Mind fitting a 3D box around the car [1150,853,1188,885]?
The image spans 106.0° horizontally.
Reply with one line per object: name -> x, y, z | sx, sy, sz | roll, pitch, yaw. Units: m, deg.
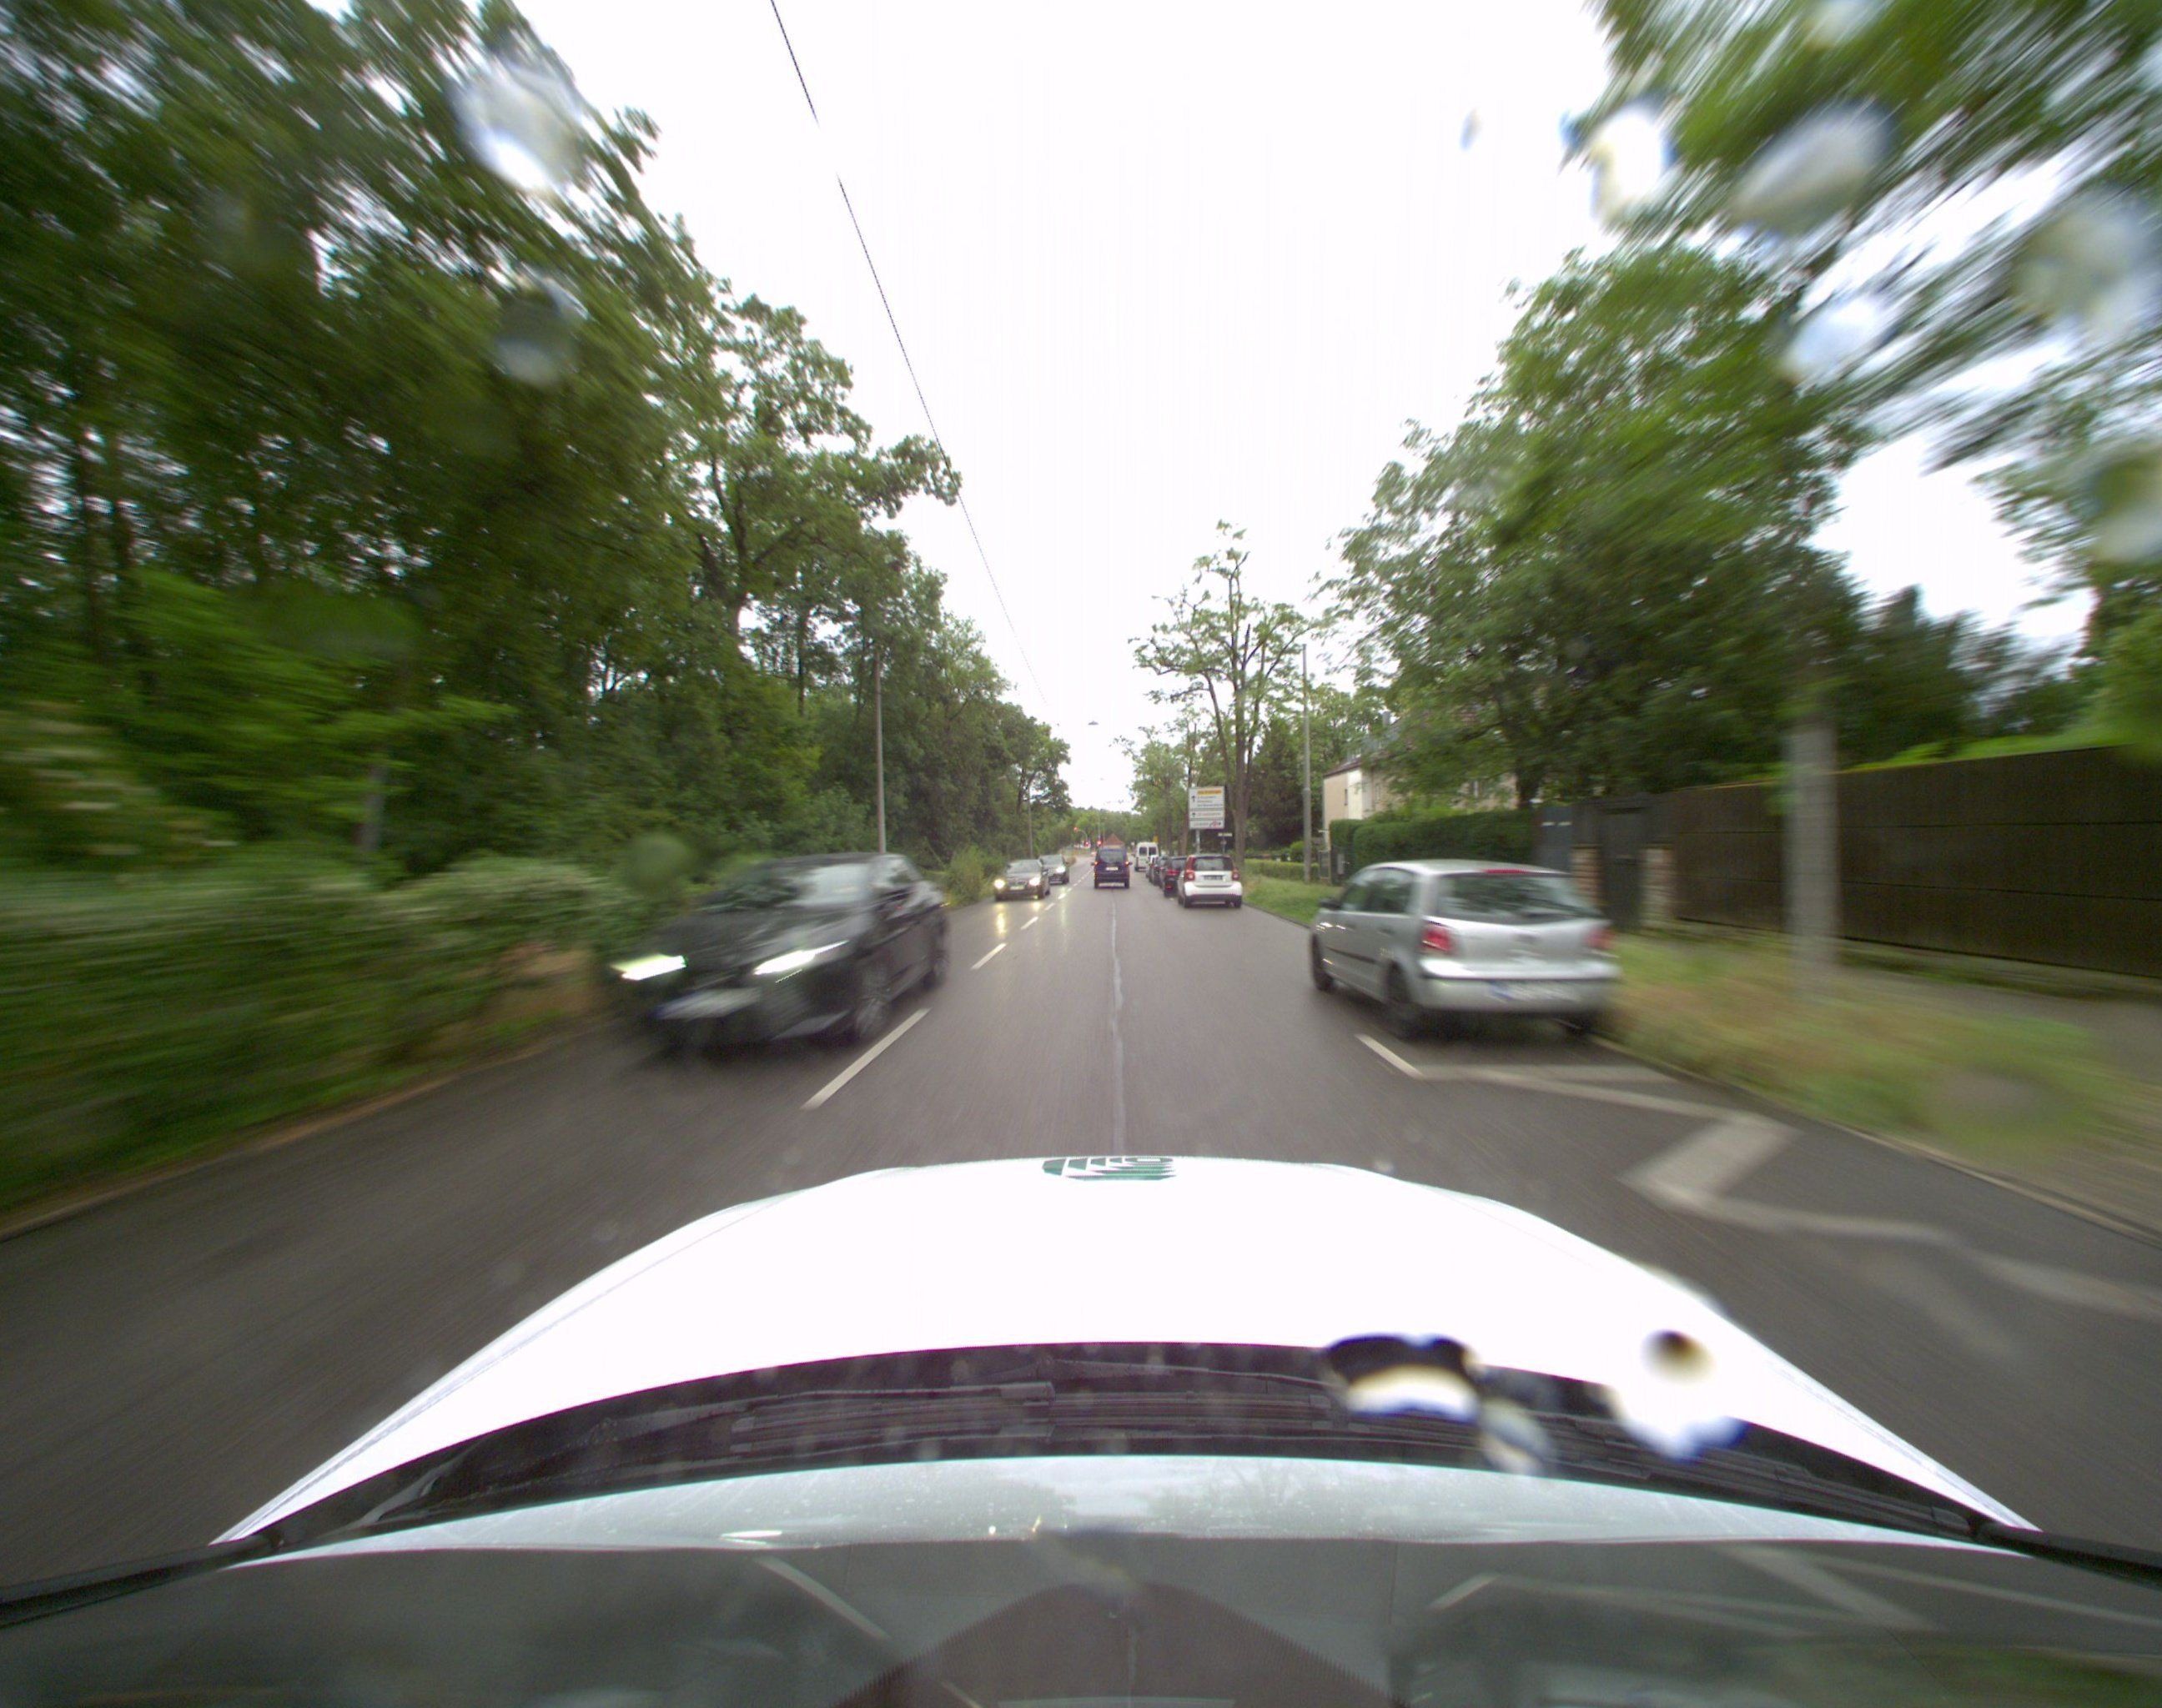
car -> 4.409, 0.703, 41.161 | 1.691, 1.524, 4.214 | 0, 0, 3

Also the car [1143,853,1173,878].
car -> 4.952, 0.736, 52.974 | 1.692, 1.524, 3.869 | 0, 0, 1

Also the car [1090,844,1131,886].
car -> 1.342, 0.480, 37.935 | 1.761, 1.830, 3.541 | 0, 1, -1

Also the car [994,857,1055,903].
car -> -2.088, 0.918, 31.356 | 1.722, 1.442, 5.115 | -3, 1, 2

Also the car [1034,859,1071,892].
car -> -1.533, 1.164, 45.315 | 1.716, 1.615, 4.158 | -2, 1, 2

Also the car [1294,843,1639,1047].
car -> 3.370, 0.655, 7.974 | 1.612, 1.508, 3.835 | 0, 1, 1

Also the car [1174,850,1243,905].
car -> 3.699, 0.645, 24.014 | 1.627, 1.509, 2.958 | 0, 1, 1

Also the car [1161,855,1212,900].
car -> 3.880, 0.817, 30.419 | 1.690, 1.524, 3.873 | 0, 1, 5

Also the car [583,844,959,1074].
car -> -2.566, 0.733, 8.078 | 1.797, 1.547, 4.434 | -3, 1, 2

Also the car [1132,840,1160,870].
car -> 5.685, 0.106, 71.492 | 2.196, 2.449, 4.732 | -1, 0, 2

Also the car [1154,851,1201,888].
car -> 4.130, 0.628, 35.250 | 1.692, 1.524, 3.869 | 0, 0, 1

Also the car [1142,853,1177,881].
car -> 4.462, 0.715, 46.700 | 1.692, 1.524, 3.869 | 0, 0, 1
